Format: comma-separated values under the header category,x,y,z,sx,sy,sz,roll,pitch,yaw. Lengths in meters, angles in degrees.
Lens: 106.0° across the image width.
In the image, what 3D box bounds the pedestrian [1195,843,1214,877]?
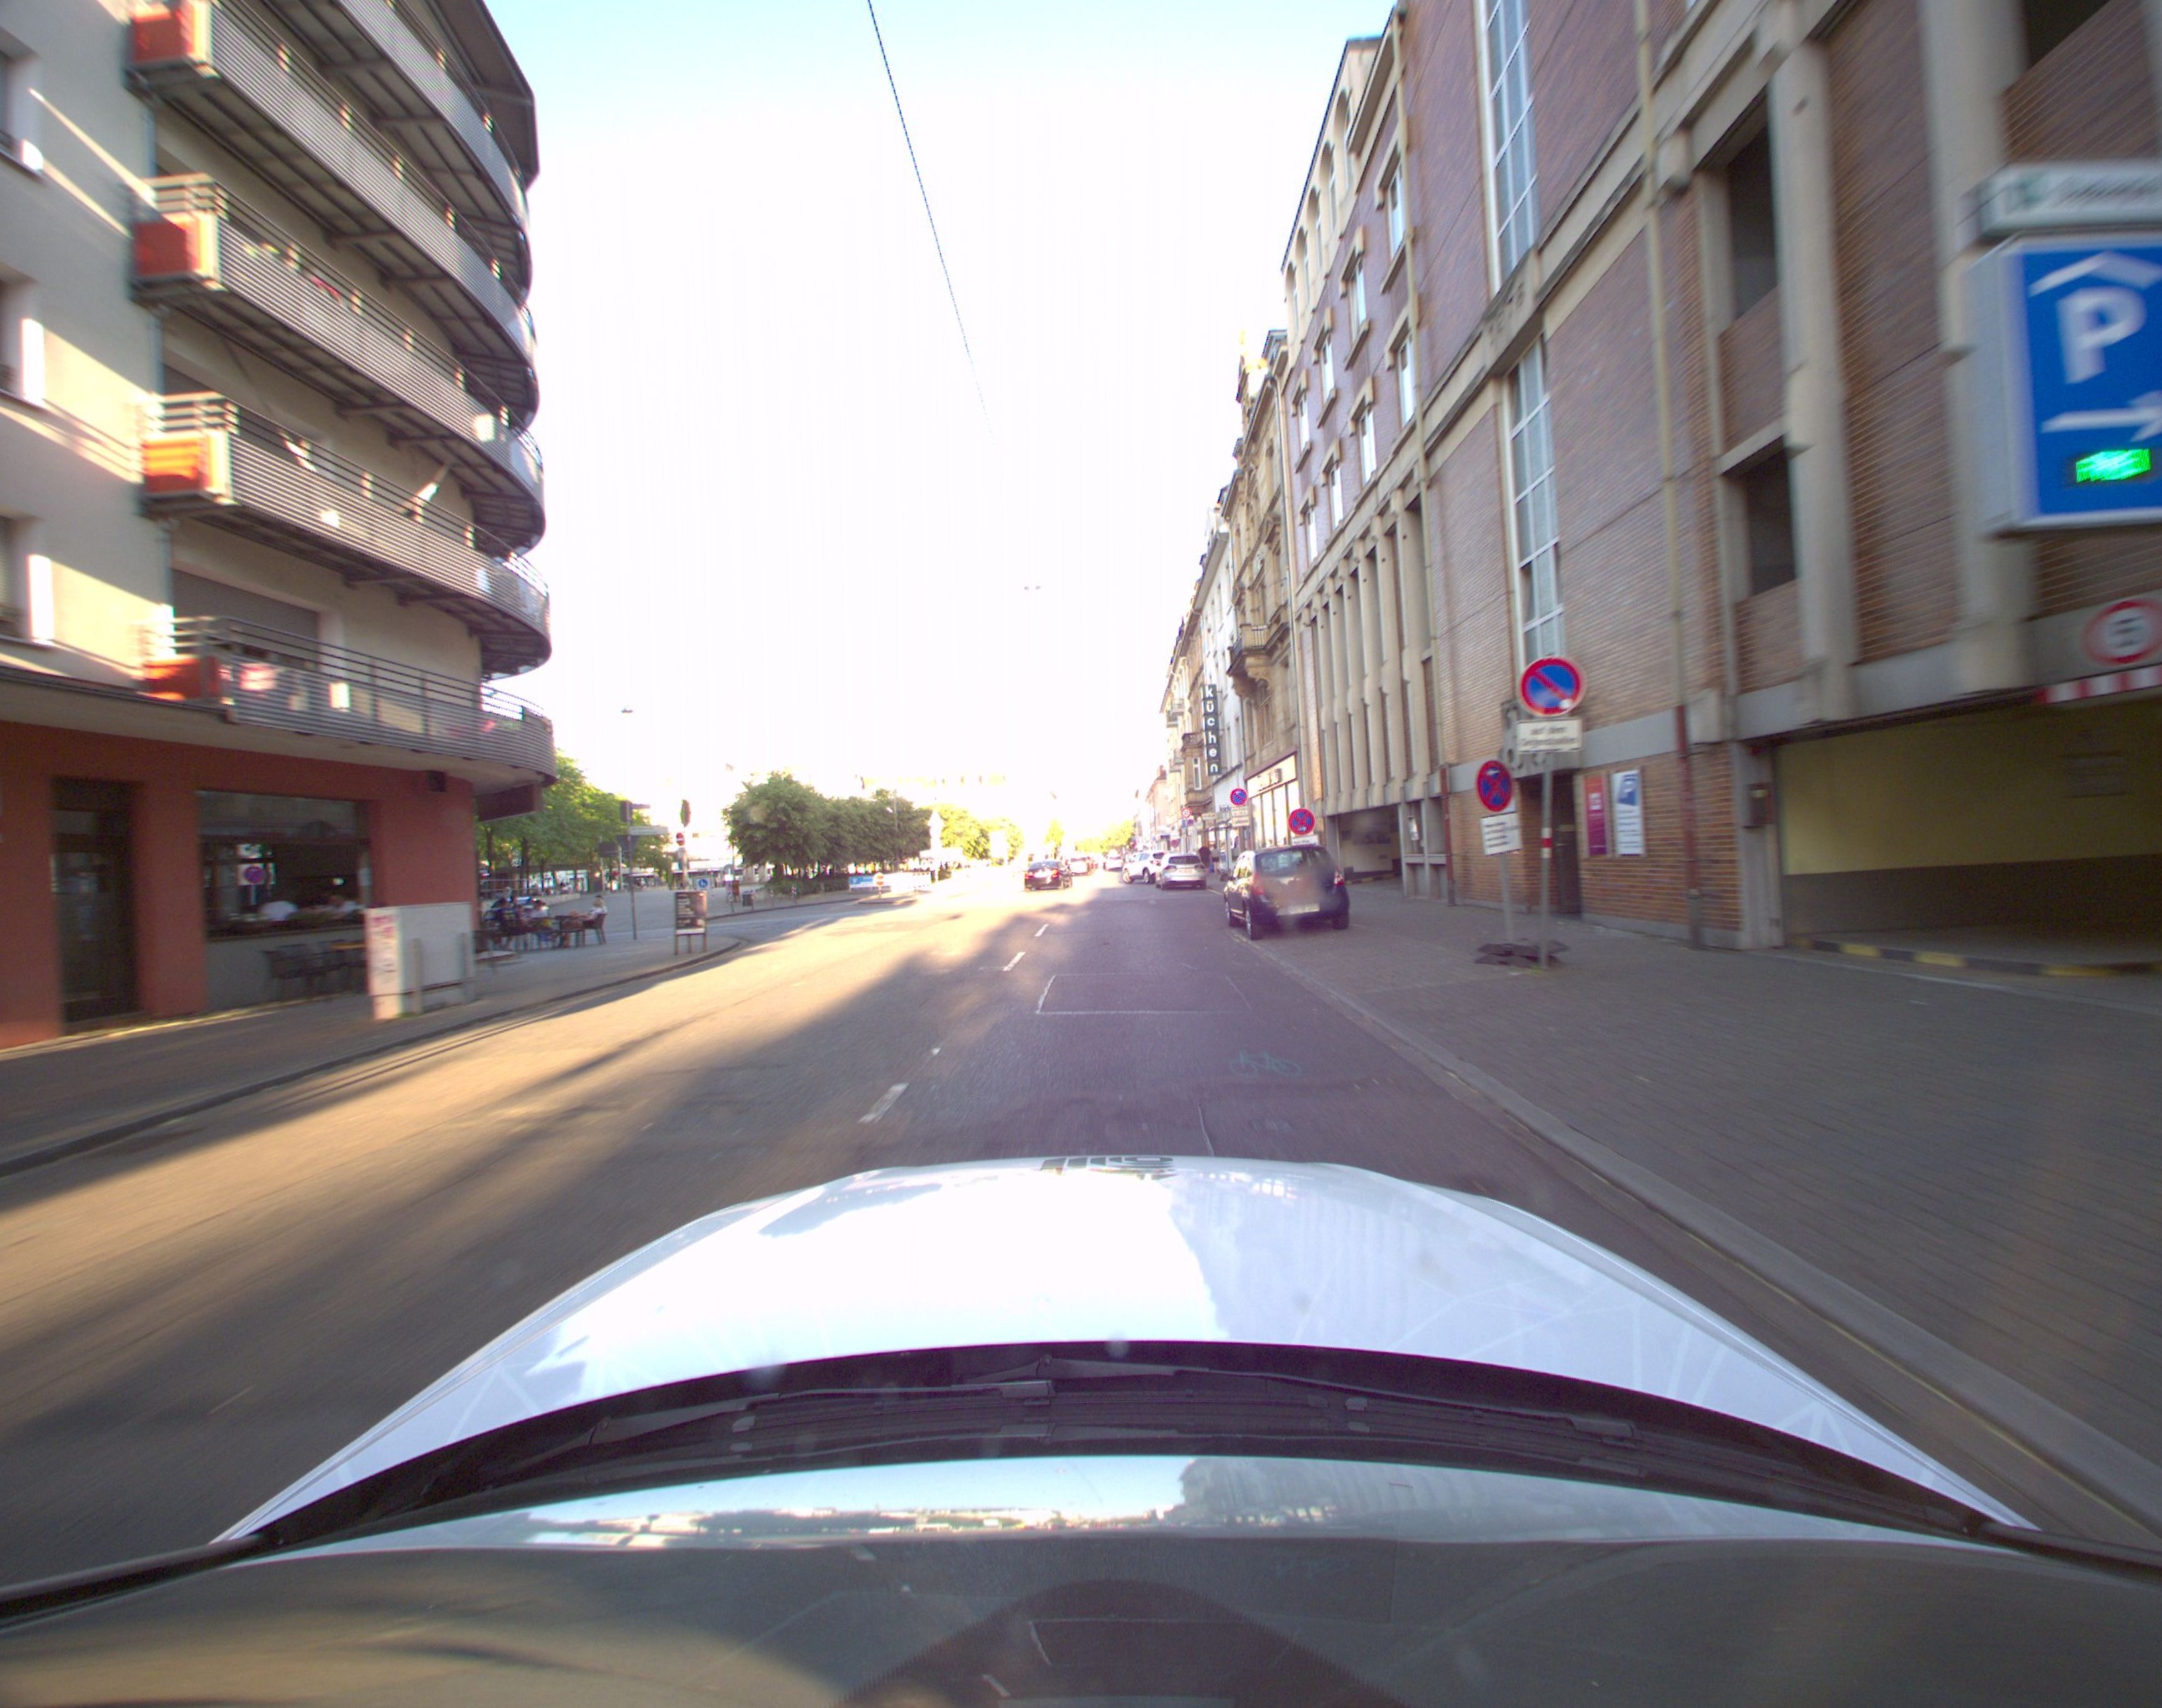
category,x,y,z,sx,sy,sz,roll,pitch,yaw
pedestrian,6.859,0.340,45.279,0.770,1.827,1.011,-5,0,1

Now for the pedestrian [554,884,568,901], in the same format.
category,x,y,z,sx,sy,sz,roll,pitch,yaw
pedestrian,-36.432,2.674,57.069,0.716,1.120,0.606,-4,0,-23

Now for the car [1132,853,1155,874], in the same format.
category,x,y,z,sx,sy,sz,roll,pitch,yaw
car,5.154,0.768,67.891,1.723,1.651,4.287,-1,-1,3

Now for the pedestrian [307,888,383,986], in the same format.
category,x,y,z,sx,sy,sz,roll,pitch,yaw
pedestrian,-12.657,1.402,14.016,0.594,1.595,0.702,-4,-2,3

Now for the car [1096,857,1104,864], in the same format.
category,x,y,z,sx,sy,sz,roll,pitch,yaw
car,4.427,1.403,190.408,1.773,1.547,4.001,-3,0,1

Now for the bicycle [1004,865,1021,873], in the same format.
category,x,y,z,sx,sy,sz,roll,pitch,yaw
bicycle,-7.638,1.659,90.755,1.820,0.853,0.483,0,-1,-2

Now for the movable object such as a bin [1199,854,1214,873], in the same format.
category,x,y,z,sx,sy,sz,roll,pitch,yaw
movable object such as a bin,7.719,0.571,50.047,0.771,1.070,0.618,-5,-1,1

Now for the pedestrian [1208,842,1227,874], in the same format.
category,x,y,z,sx,sy,sz,roll,pitch,yaw
pedestrian,7.609,0.233,45.410,0.770,1.711,1.042,-5,0,1

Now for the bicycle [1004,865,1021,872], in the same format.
category,x,y,z,sx,sy,sz,roll,pitch,yaw
bicycle,-7.853,1.673,93.477,1.820,0.853,0.483,0,-1,-2

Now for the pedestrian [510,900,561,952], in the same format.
category,x,y,z,sx,sy,sz,roll,pitch,yaw
pedestrian,-14.090,1.845,21.054,0.720,1.247,0.828,-4,-2,-4

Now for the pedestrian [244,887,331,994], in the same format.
category,x,y,z,sx,sy,sz,roll,pitch,yaw
pedestrian,-12.646,1.354,12.994,0.594,1.595,0.751,-4,-2,3

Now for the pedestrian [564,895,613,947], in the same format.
category,x,y,z,sx,sy,sz,roll,pitch,yaw
pedestrian,-13.024,1.767,21.561,0.826,1.273,0.747,-4,-2,-7

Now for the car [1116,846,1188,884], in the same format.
category,x,y,z,sx,sy,sz,roll,pitch,yaw
car,3.604,0.584,42.192,2.000,1.761,4.435,-3,0,-20

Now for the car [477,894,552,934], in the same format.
category,x,y,z,sx,sy,sz,roll,pitch,yaw
car,-23.397,2.438,33.814,2.006,1.317,4.486,-4,0,-29

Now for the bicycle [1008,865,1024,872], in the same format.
category,x,y,z,sx,sy,sz,roll,pitch,yaw
bicycle,-7.347,1.664,92.552,1.820,0.853,0.483,0,-1,-2

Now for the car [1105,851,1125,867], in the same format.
category,x,y,z,sx,sy,sz,roll,pitch,yaw
car,3.381,0.485,81.879,1.890,1.581,4.001,-2,0,2

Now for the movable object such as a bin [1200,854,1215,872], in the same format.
category,x,y,z,sx,sy,sz,roll,pitch,yaw
movable object such as a bin,7.673,0.545,49.374,0.771,1.070,0.618,-5,-1,1

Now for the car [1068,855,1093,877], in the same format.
category,x,y,z,sx,sy,sz,roll,pitch,yaw
car,0.013,0.986,67.241,1.890,1.649,4.105,-3,0,2

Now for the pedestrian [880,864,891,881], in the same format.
category,x,y,z,sx,sy,sz,roll,pitch,yaw
pedestrian,-17.812,1.685,74.255,0.671,1.595,0.680,-3,0,21

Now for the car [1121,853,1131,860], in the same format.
category,x,y,z,sx,sy,sz,roll,pitch,yaw
car,10.279,0.575,186.001,1.890,1.581,3.853,-4,0,2

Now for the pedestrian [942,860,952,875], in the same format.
category,x,y,z,sx,sy,sz,roll,pitch,yaw
pedestrian,-14.202,1.430,86.512,0.783,1.595,0.571,-3,-1,21

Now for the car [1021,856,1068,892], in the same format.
category,x,y,z,sx,sy,sz,roll,pitch,yaw
car,-1.700,0.933,38.944,1.890,1.581,4.001,-2,0,2

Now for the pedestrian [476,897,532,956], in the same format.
category,x,y,z,sx,sy,sz,roll,pitch,yaw
pedestrian,-14.104,1.756,19.919,0.745,1.347,0.828,-4,-2,-4

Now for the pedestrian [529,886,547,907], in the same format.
category,x,y,z,sx,sy,sz,roll,pitch,yaw
pedestrian,-34.076,2.677,51.122,0.792,1.279,0.649,-3,-2,-23

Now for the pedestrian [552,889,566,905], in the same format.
category,x,y,z,sx,sy,sz,roll,pitch,yaw
pedestrian,-36.099,2.992,56.318,0.716,1.059,0.606,-4,0,-23

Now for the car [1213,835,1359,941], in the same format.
category,x,y,z,sx,sy,sz,roll,pitch,yaw
car,3.629,0.548,15.141,1.752,1.536,4.003,-6,0,3

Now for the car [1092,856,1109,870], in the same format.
category,x,y,z,sx,sy,sz,roll,pitch,yaw
car,2.306,1.030,95.625,1.889,1.581,3.853,0,0,2

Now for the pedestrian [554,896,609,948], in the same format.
category,x,y,z,sx,sy,sz,roll,pitch,yaw
pedestrian,-12.797,1.731,20.877,0.897,1.242,0.766,-4,-2,-7

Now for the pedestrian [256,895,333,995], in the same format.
category,x,y,z,sx,sy,sz,roll,pitch,yaw
pedestrian,-13.247,1.518,13.733,0.670,1.595,0.598,-4,-2,2

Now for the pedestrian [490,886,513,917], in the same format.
category,x,y,z,sx,sy,sz,roll,pitch,yaw
pedestrian,-30.910,2.543,43.449,0.792,1.586,0.649,-3,-2,-23

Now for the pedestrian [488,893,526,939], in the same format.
category,x,y,z,sx,sy,sz,roll,pitch,yaw
pedestrian,-21.080,2.253,29.931,0.901,1.566,0.762,-4,0,-23

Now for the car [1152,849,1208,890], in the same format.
category,x,y,z,sx,sy,sz,roll,pitch,yaw
car,4.014,0.643,33.728,1.753,1.536,4.821,-1,-1,0

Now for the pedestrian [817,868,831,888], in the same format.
category,x,y,z,sx,sy,sz,roll,pitch,yaw
pedestrian,-21.333,1.966,67.601,0.783,1.595,0.571,-3,-1,21
